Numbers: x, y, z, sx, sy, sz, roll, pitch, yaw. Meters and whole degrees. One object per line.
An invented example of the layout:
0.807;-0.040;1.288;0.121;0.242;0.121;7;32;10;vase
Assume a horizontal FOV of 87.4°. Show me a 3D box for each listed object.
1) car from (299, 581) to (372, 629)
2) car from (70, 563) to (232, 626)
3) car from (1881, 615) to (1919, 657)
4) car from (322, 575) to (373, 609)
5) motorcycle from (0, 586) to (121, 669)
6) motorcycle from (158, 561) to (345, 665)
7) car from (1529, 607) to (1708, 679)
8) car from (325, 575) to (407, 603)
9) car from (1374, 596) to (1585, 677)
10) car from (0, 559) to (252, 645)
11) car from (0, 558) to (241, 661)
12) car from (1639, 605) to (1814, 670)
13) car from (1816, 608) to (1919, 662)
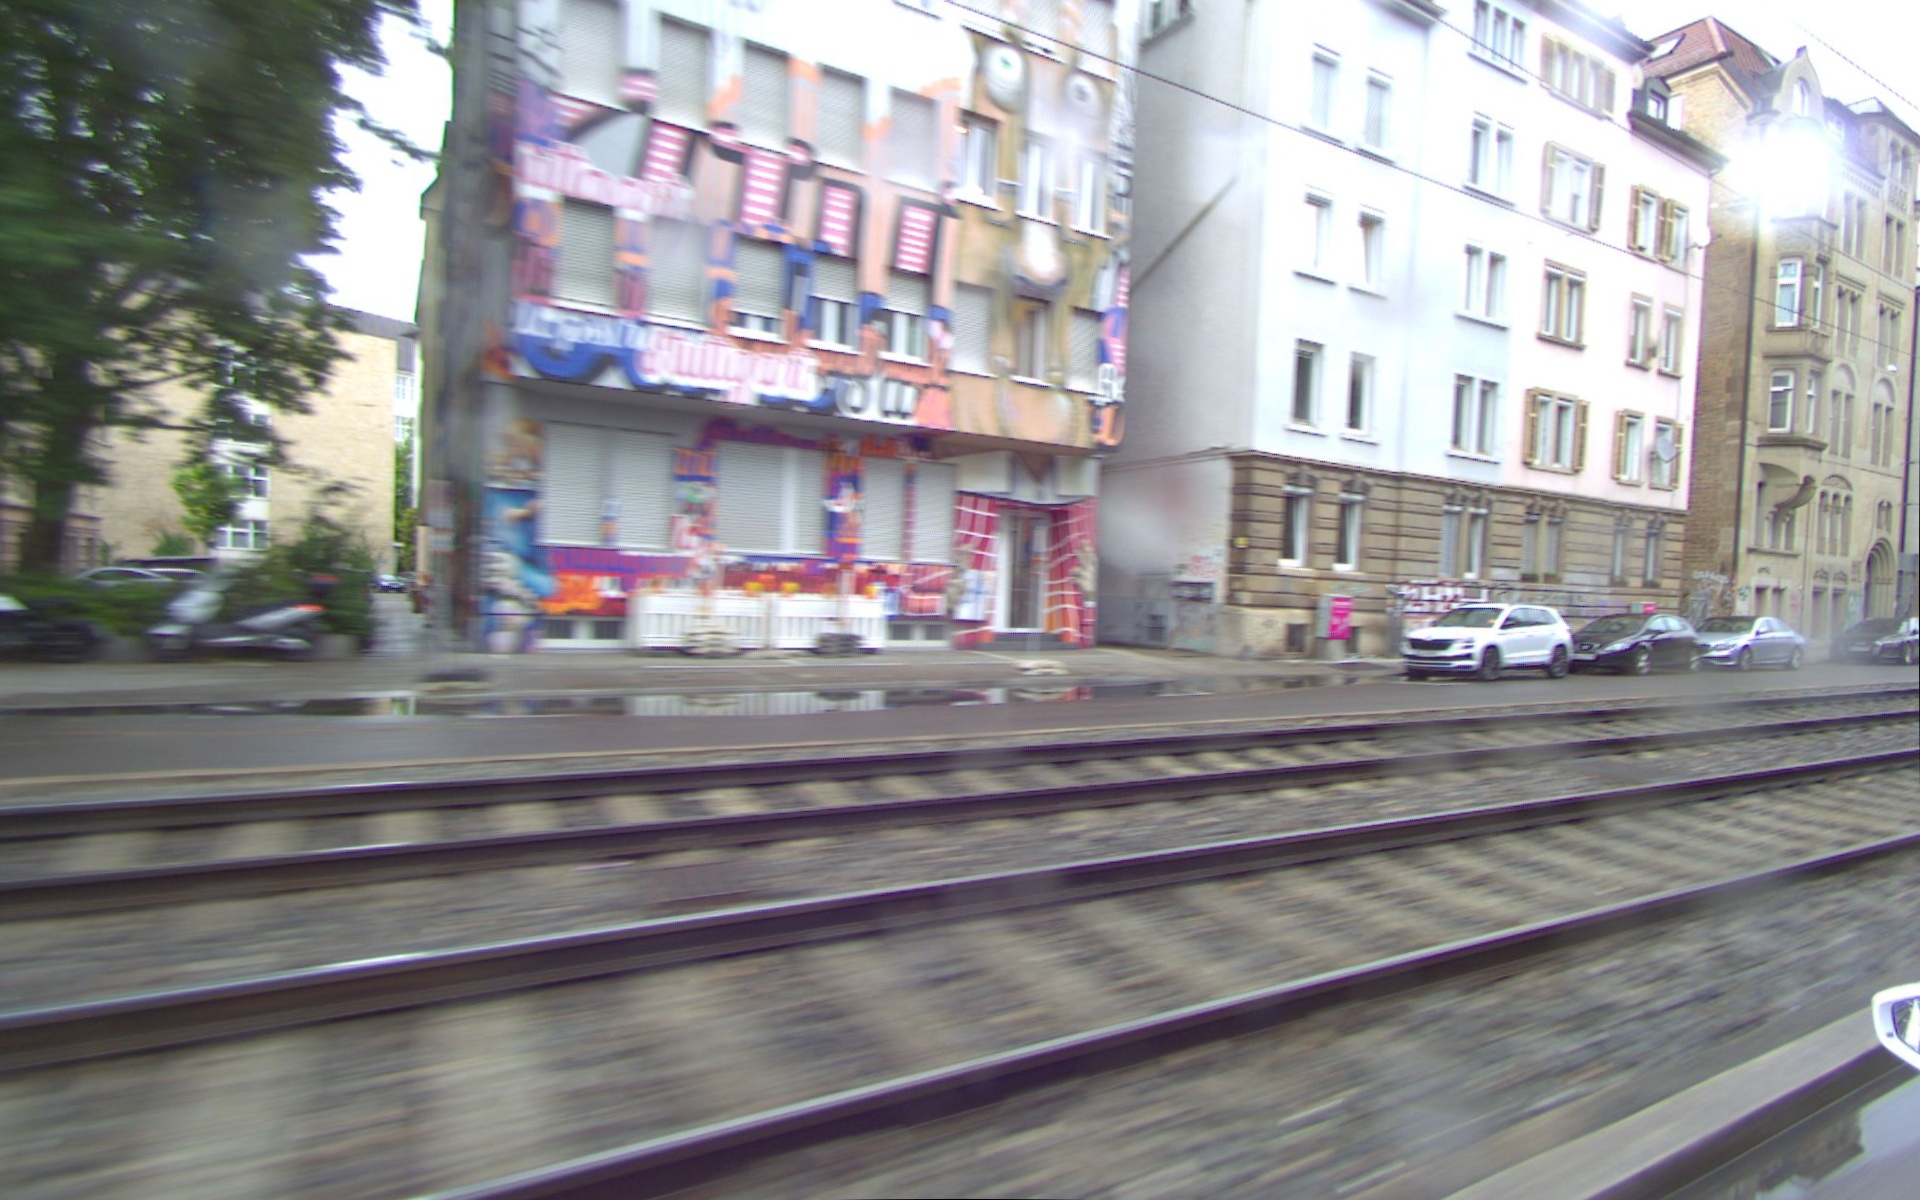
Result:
-19.678;0.114;31.795;1.773;1.383;3.968;1;1;-30;car
-28.525;-0.180;35.552;1.963;2.040;3.995;2;0;27;car
34.738;1.324;35.522;4.188;1.394;1.984;2;1;-30;car
-26.641;-0.373;43.778;1.773;1.383;3.968;1;1;-30;car
-12.394;0.351;13.136;2.096;1.047;0.635;2;1;-32;motorcycle
-10.019;0.196;14.307;2.096;1.398;0.635;2;1;-32;motorcycle
16.094;1.033;24.525;4.160;1.539;1.984;2;1;-30;car
-31.529;-0.581;53.326;3.564;1.383;1.773;2;0;15;car
11.281;0.781;21.763;4.383;1.539;1.984;2;1;-30;car
-15.009;0.034;17.702;3.954;1.383;1.983;1;1;-31;car
-13.637;0.132;15.486;3.954;1.474;1.983;1;0;-31;car
20.653;1.009;27.031;4.934;1.539;1.984;2;1;-30;car
29.800;1.122;32.315;4.621;1.539;1.984;2;1;-30;car
